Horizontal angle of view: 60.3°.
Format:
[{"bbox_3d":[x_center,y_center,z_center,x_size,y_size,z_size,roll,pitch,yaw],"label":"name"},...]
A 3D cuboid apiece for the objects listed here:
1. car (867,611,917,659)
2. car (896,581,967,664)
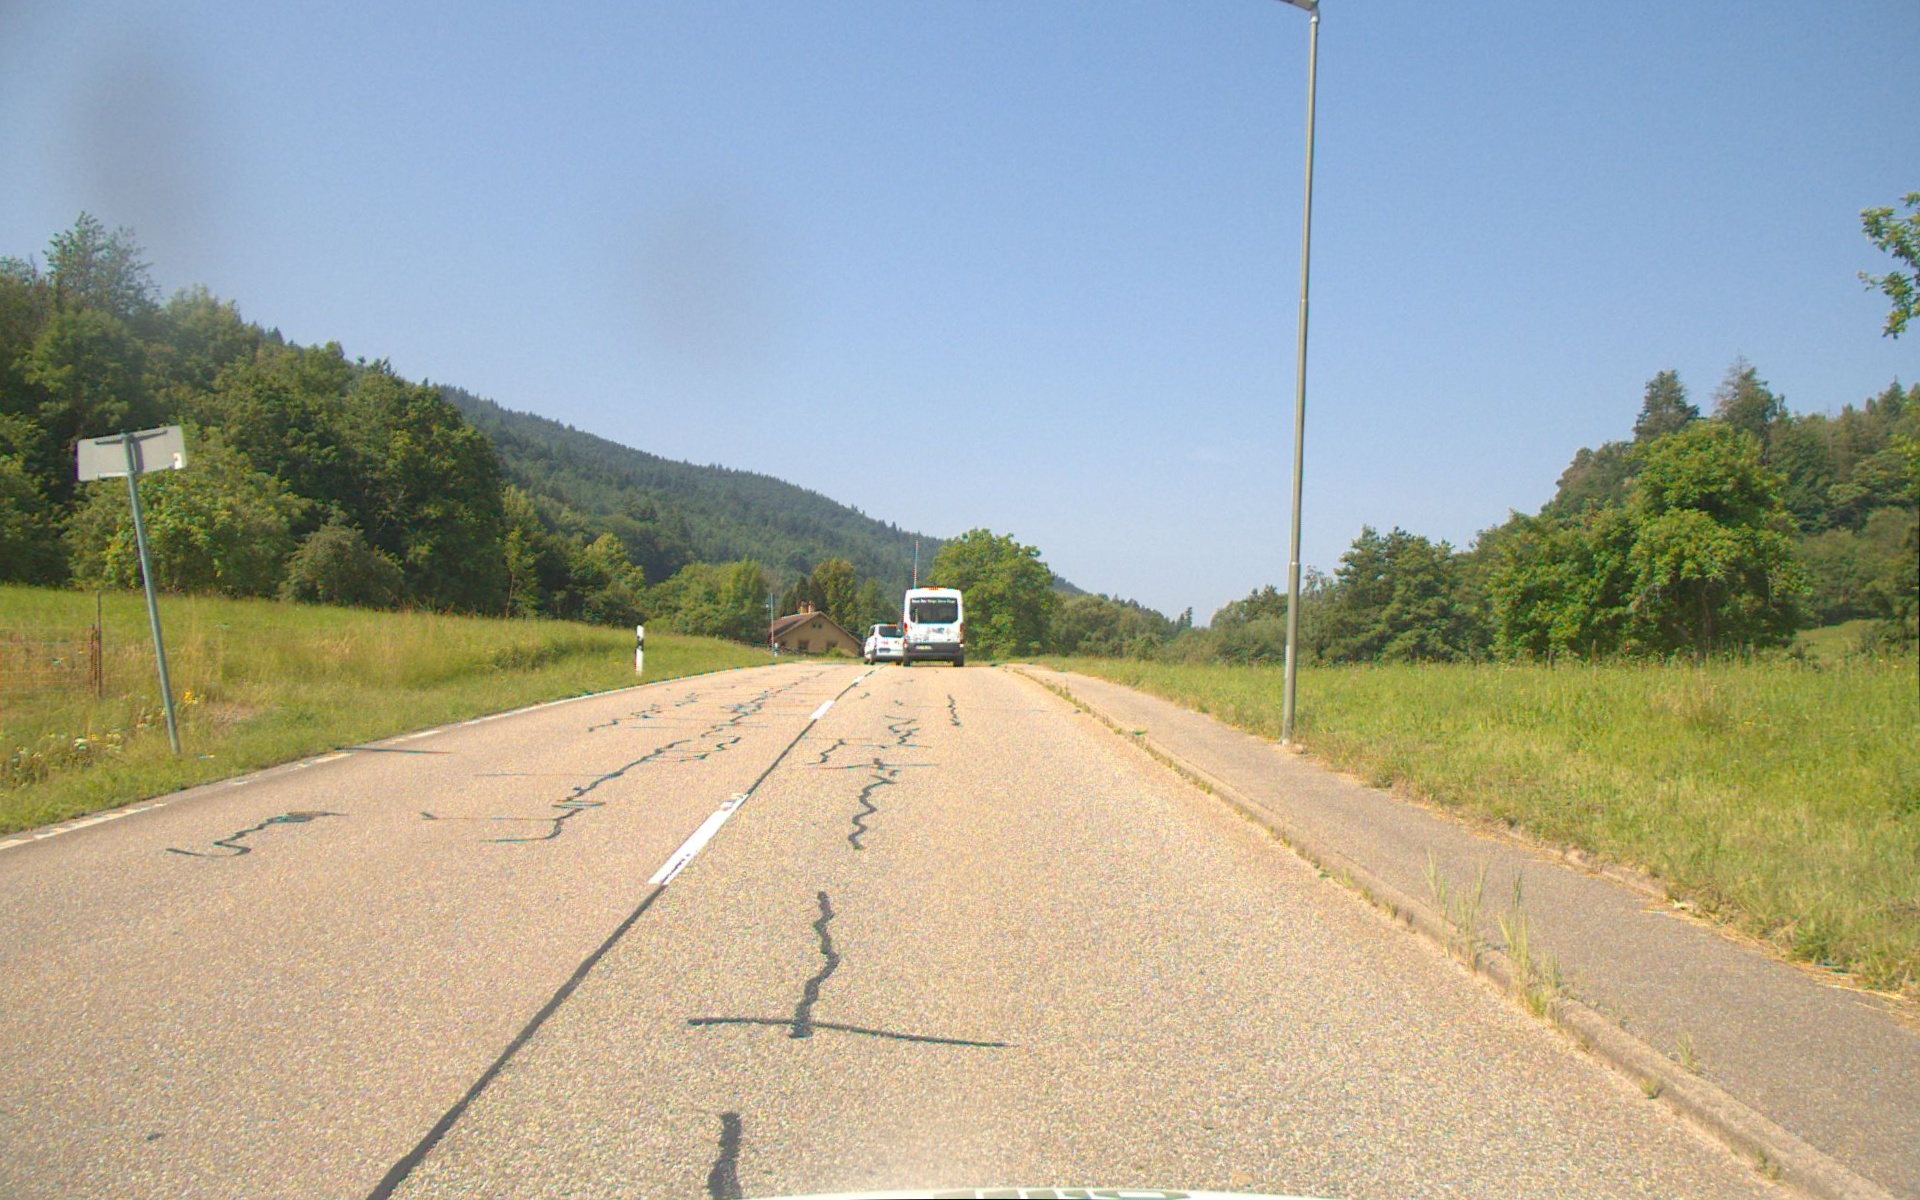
[{"bbox_3d":[-3.530,1.836,84.742,2.180,2.327,4.977,-1,-2,-6],"label":"car"},{"bbox_3d":[-0.973,0.802,54.886,2.177,2.570,4.982,-2,-2,-2],"label":"car"}]
